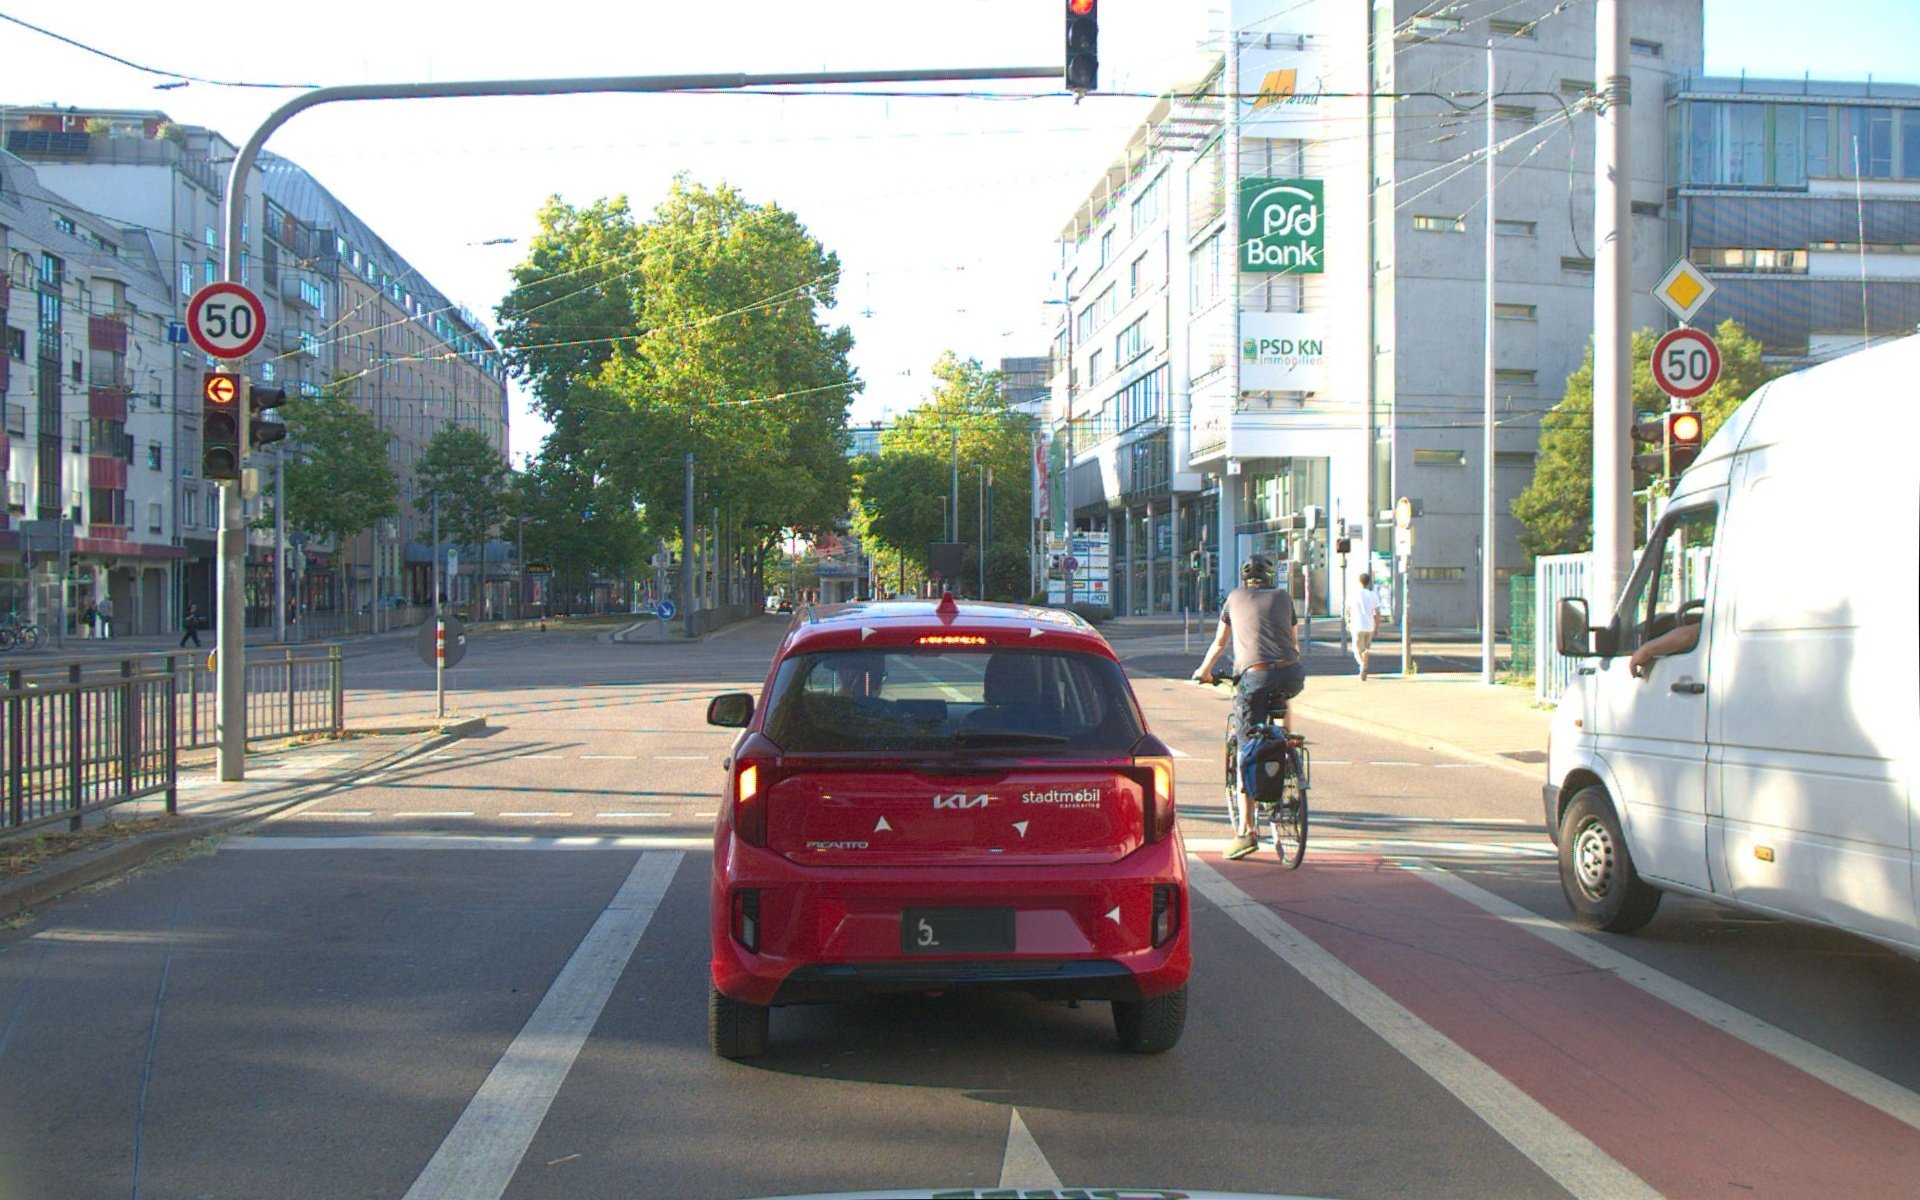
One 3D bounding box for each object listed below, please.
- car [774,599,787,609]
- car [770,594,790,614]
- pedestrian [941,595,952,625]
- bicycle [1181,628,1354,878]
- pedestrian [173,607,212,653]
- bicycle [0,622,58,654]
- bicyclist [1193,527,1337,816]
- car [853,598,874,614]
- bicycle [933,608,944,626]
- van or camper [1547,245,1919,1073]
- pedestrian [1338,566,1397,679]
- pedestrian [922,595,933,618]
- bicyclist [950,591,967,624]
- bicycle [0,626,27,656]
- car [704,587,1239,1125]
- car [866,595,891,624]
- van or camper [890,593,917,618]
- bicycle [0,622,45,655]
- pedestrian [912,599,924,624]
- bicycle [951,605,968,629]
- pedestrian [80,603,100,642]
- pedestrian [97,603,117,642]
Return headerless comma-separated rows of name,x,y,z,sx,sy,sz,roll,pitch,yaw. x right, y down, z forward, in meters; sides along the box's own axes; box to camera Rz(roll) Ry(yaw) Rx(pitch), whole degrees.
car,-27.757,0.666,255.403,1.745,1.561,3.403,0,0,-10
car,-19.103,0.443,175.270,1.956,2.049,3.992,0,0,-8
pedestrian,-0.787,0.593,95.212,0.633,1.710,0.651,0,0,-3
bicycle,1.797,0.844,9.930,0.637,1.303,1.965,0,0,-1
pedestrian,-26.807,1.042,57.758,1.023,1.571,0.695,-1,0,10
bicycle,-29.544,1.198,52.164,1.808,1.002,0.552,0,0,-8
bicyclist,1.805,0.404,9.907,0.637,1.631,1.088,0,0,-1
car,-10.054,0.631,171.691,1.745,1.561,3.504,0,0,-10
bicycle,-1.242,0.965,95.031,0.510,0.991,2.200,-4,1,-2
van or camper,4.182,0.202,5.399,1.930,2.763,6.300,1,0,-4
pedestrian,6.867,0.366,27.901,0.761,1.855,1.216,0,0,4
pedestrian,-2.591,0.511,131.588,0.873,1.783,0.841,0,0,-1
bicyclist,-0.091,0.368,84.345,0.707,1.631,1.088,-3,0,-4
bicycle,-29.451,1.253,50.284,1.806,0.869,0.553,0,0,-4
car,-0.108,0.744,6.584,1.582,1.561,3.408,0,0,-5
car,-5.339,0.627,108.595,1.603,1.831,3.327,-1,0,-3
van or camper,-4.533,0.434,132.216,1.954,2.024,4.740,0,0,-4
bicycle,-29.601,1.213,51.548,1.808,1.002,0.552,0,0,-8
pedestrian,-2.869,0.781,112.285,0.630,1.607,0.722,-4,0,-7
bicycle,-0.052,0.856,84.395,0.682,1.117,1.749,-4,1,-4
pedestrian,-34.215,0.862,65.070,0.524,1.520,0.586,0,0,-9
pedestrian,-33.684,0.872,65.321,0.524,1.520,0.586,0,0,-9
